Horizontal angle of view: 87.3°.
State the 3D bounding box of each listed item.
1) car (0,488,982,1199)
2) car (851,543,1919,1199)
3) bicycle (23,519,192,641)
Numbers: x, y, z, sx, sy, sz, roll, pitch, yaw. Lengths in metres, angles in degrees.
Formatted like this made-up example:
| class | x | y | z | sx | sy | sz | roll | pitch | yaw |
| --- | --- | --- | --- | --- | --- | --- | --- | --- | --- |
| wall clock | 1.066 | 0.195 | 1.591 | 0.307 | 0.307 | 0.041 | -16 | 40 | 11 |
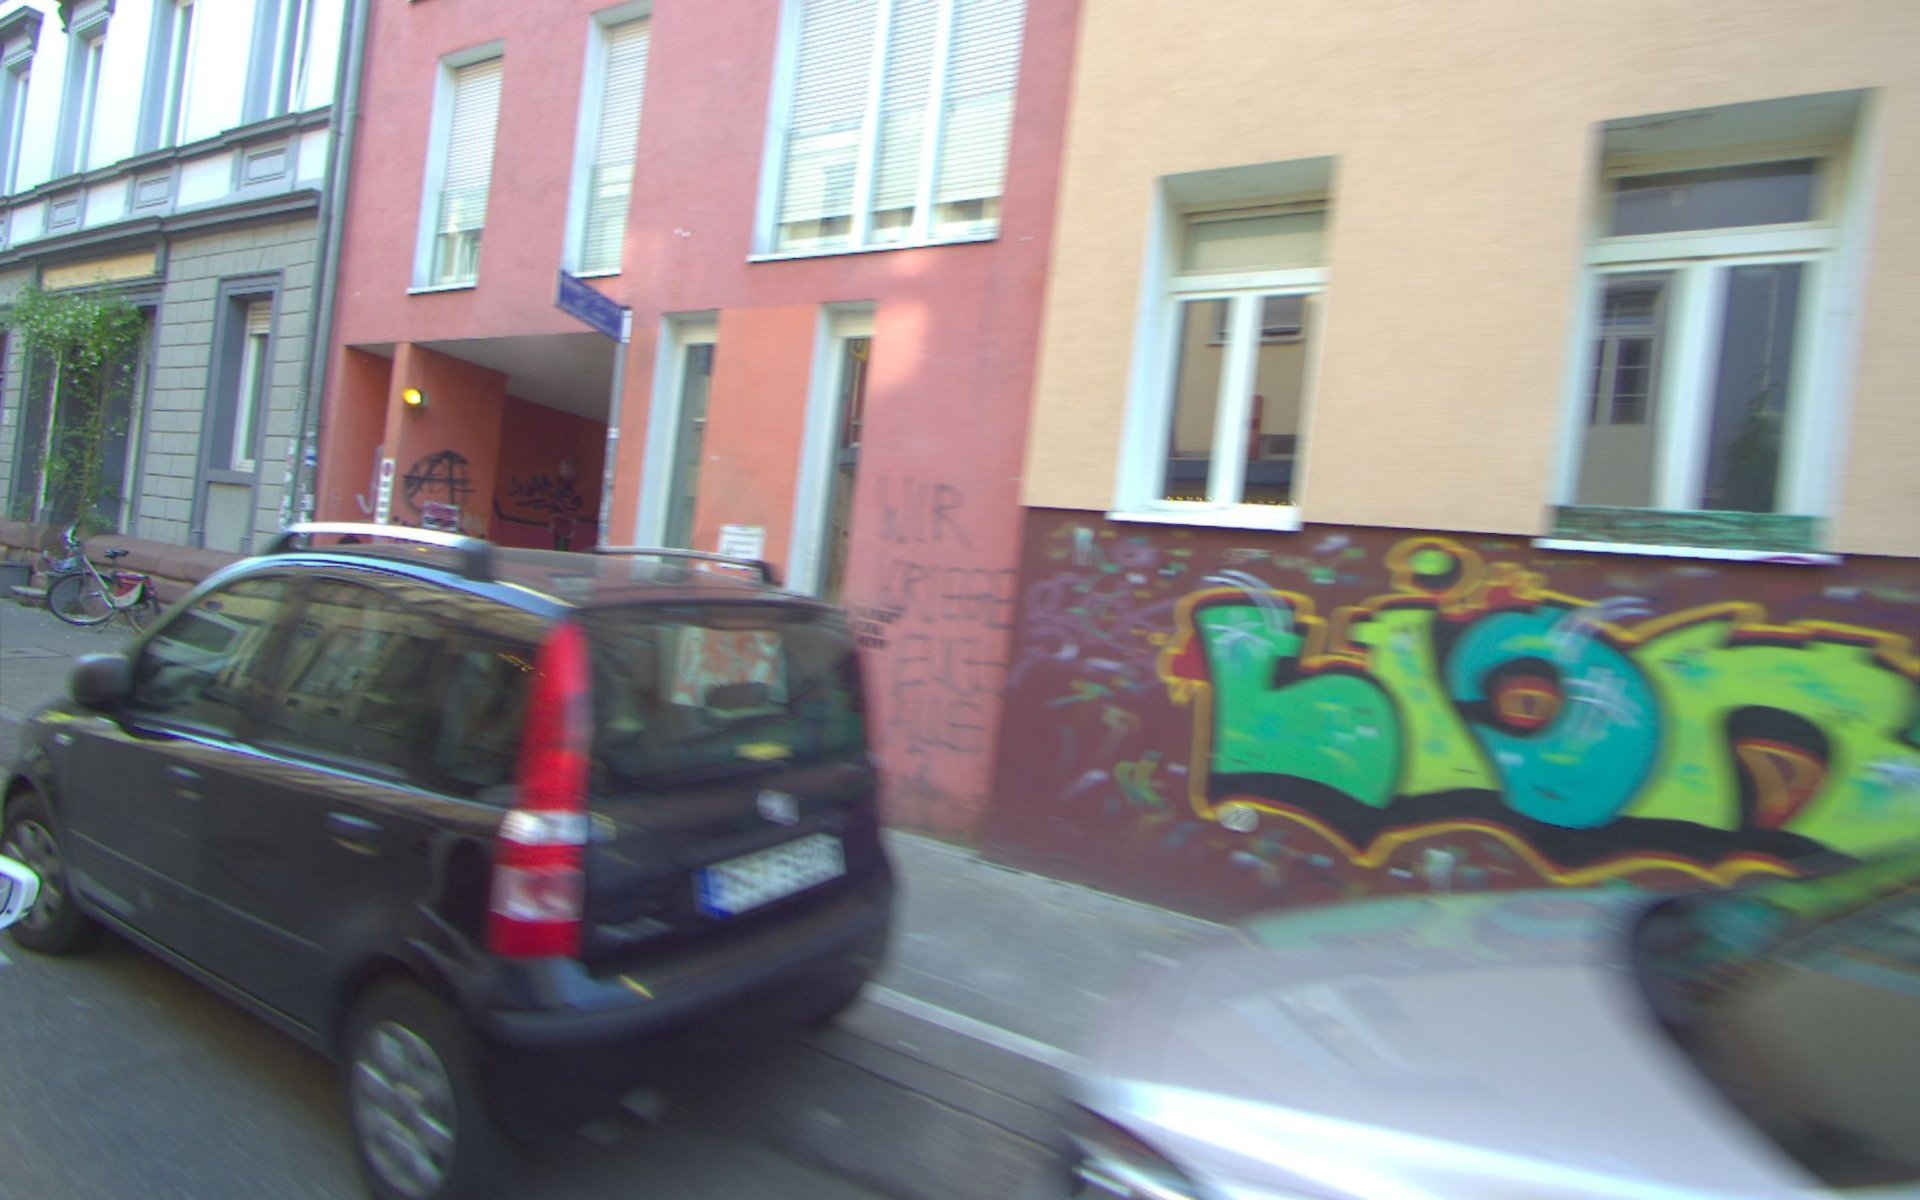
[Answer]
| class | x | y | z | sx | sy | sz | roll | pitch | yaw |
| --- | --- | --- | --- | --- | --- | --- | --- | --- | --- |
| car | -1.849 | 0.552 | 3.465 | 3.393 | 1.560 | 1.602 | 7 | 2 | 32 |
| car | 2.037 | 0.973 | 1.184 | 4.102 | 1.575 | 1.748 | 7 | 0 | 32 |
| bicycle | -9.134 | -0.220 | 10.764 | 1.868 | 1.112 | 0.711 | 6 | 2 | 28 |
